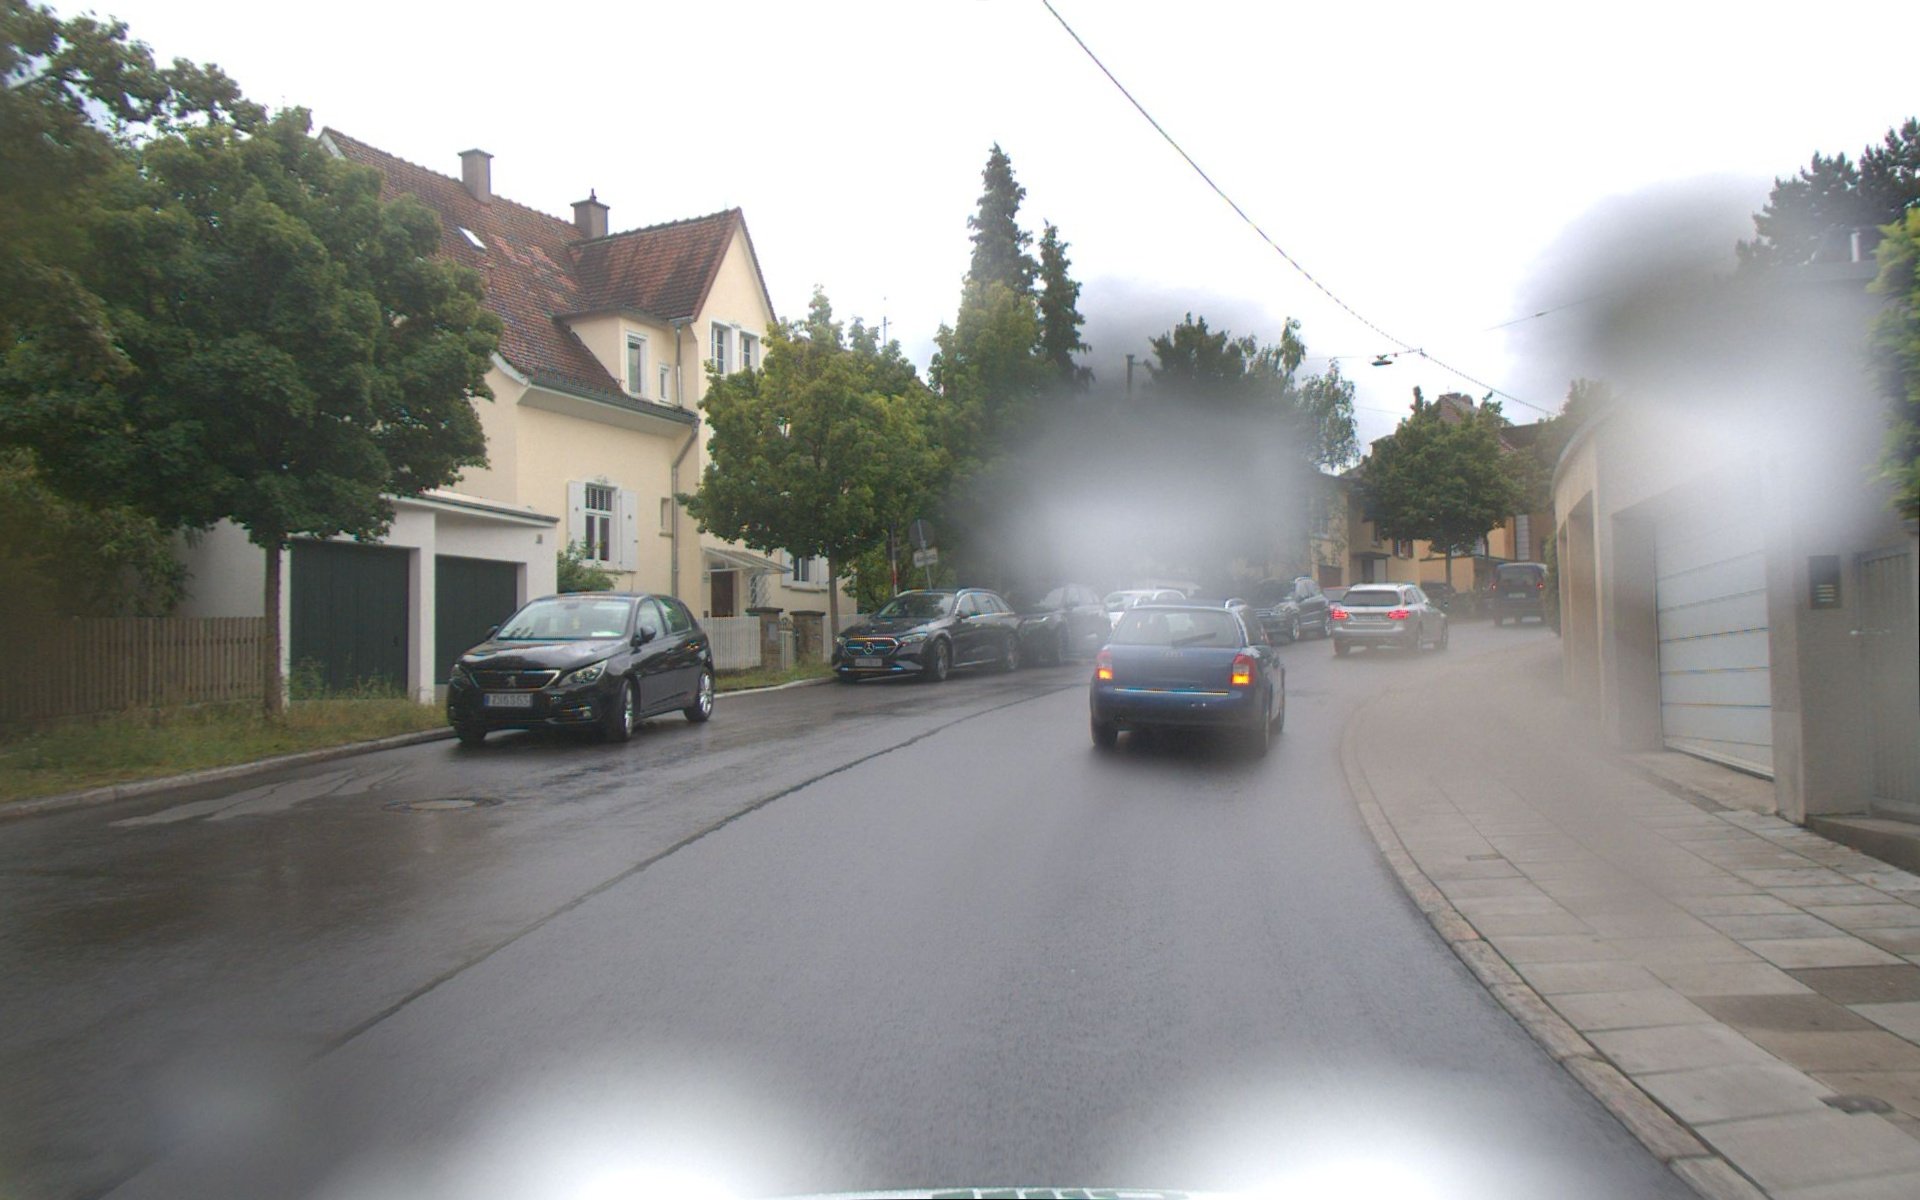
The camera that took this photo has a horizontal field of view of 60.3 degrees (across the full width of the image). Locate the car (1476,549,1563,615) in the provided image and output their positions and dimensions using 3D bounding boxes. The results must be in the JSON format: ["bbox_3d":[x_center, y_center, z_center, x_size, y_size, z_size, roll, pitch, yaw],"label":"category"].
[{"bbox_3d":[17.148,-0.571,50.591,1.701,1.799,4.228,-1,3,30],"label":"car"}]

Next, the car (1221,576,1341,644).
[{"bbox_3d":[8.845,0.236,45.277,1.768,1.698,4.416,-3,-1,31],"label":"car"}]

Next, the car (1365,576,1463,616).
[{"bbox_3d":[21.251,-0.179,77.425,3.987,1.675,1.856,-3,-1,37],"label":"car"}]

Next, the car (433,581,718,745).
[{"bbox_3d":[-3.885,0.587,17.391,1.634,1.491,3.898,-2,0,7],"label":"car"}]

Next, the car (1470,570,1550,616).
[{"bbox_3d":[21.591,-0.306,64.791,1.737,1.562,4.591,-5,-1,34],"label":"car"}]

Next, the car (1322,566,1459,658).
[{"bbox_3d":[9.237,0.213,35.255,1.937,1.663,4.231,-1,3,27],"label":"car"}]

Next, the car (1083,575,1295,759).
[{"bbox_3d":[2.458,0.594,16.941,1.696,1.492,4.005,-1,3,14],"label":"car"}]

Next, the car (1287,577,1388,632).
[{"bbox_3d":[11.327,0.121,49.441,1.652,1.497,3.854,-3,-1,33],"label":"car"}]

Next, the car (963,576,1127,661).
[{"bbox_3d":[1.765,0.334,33.009,1.700,1.572,4.205,-1,0,27],"label":"car"}]

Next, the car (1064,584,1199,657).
[{"bbox_3d":[3.939,0.429,37.417,1.700,1.492,3.996,-1,1,27],"label":"car"}]

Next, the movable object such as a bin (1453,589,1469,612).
[{"bbox_3d":[23.808,0.027,78.583,0.576,1.041,0.584,-2,0,34],"label":"movable object such as a bin"}]

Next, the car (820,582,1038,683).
[{"bbox_3d":[-0.408,0.504,28.497,1.829,1.572,4.902,-1,0,24],"label":"car"}]
